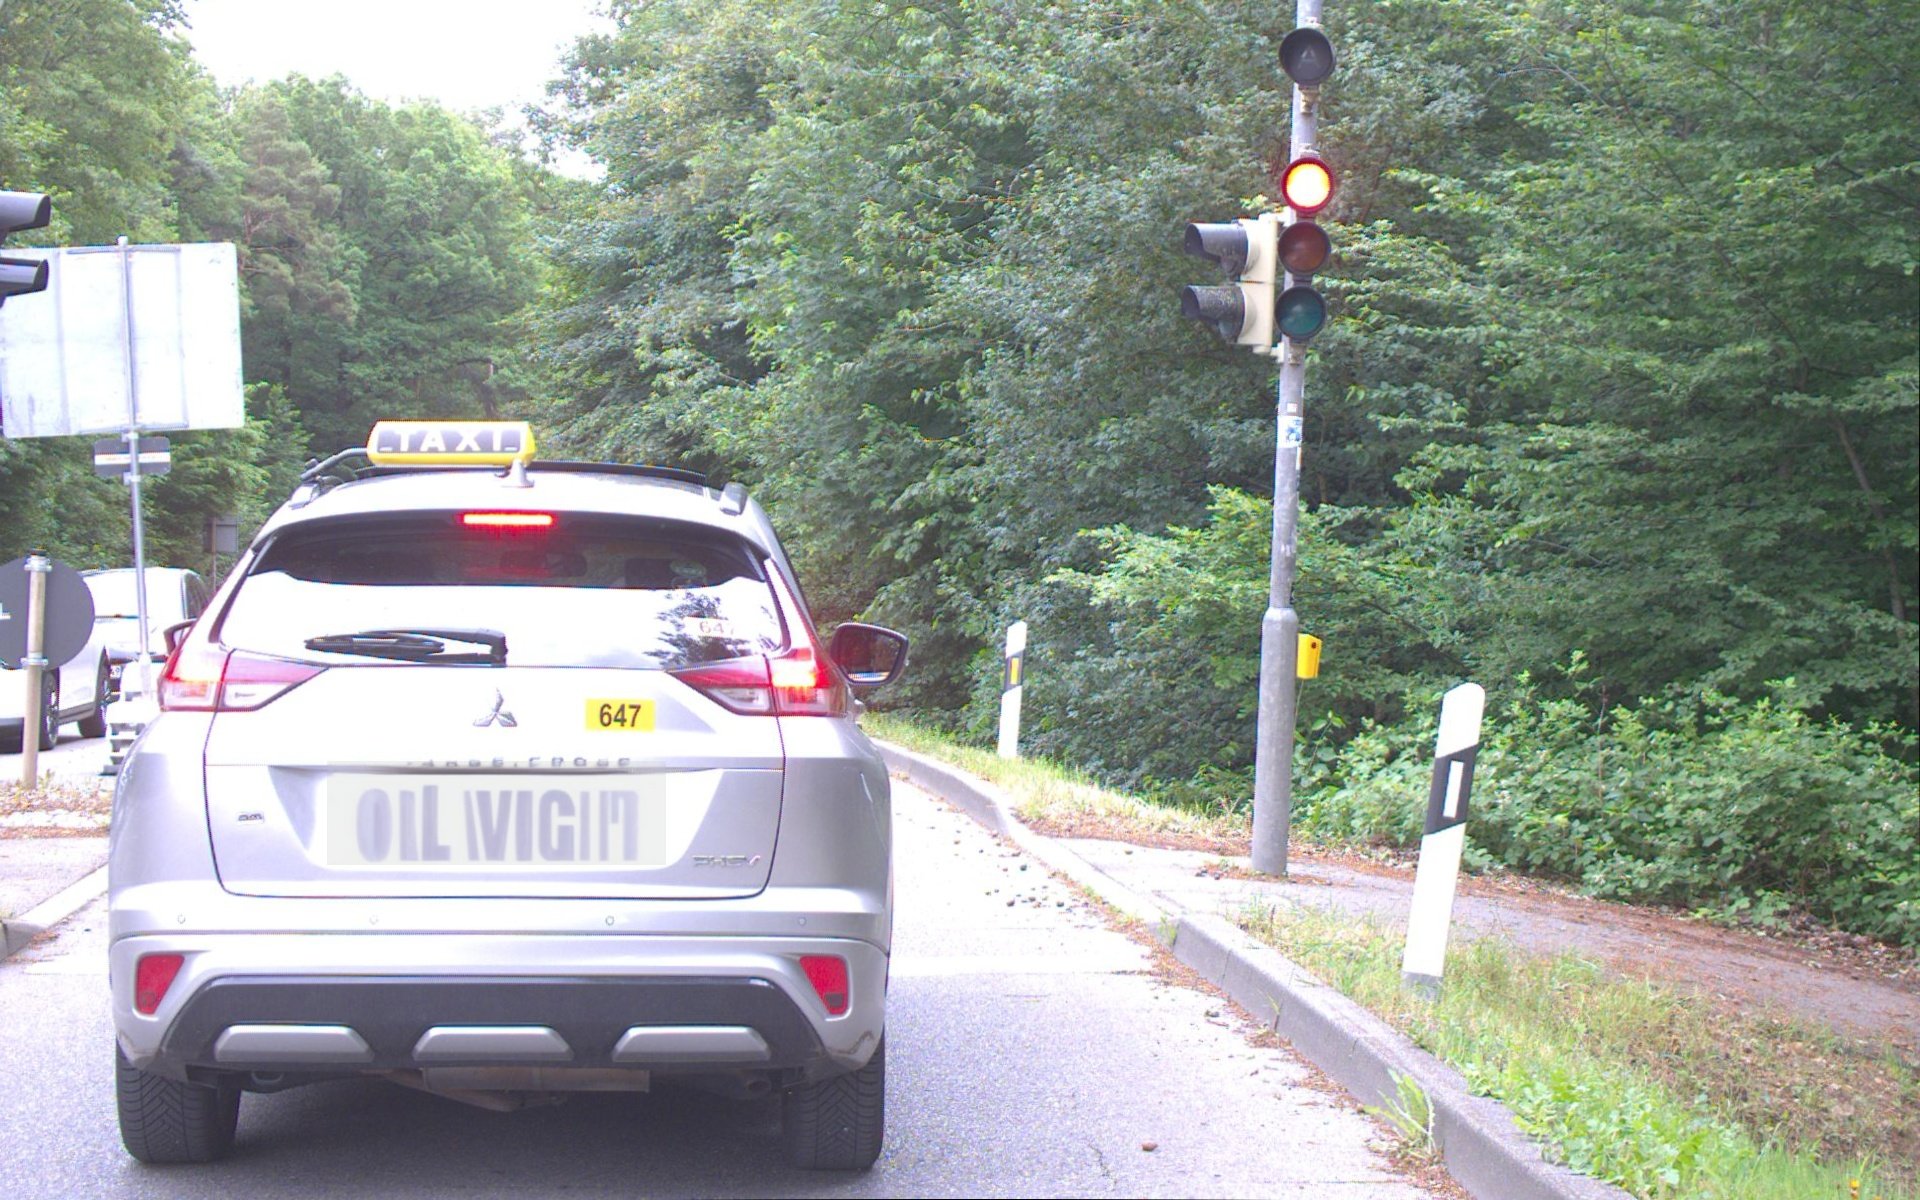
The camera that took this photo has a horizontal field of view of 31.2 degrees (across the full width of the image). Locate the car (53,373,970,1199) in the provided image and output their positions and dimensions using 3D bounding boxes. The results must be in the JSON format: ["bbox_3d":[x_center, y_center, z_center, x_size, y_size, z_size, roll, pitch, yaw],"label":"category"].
[{"bbox_3d":[-1.122,0.388,9.191,1.846,1.774,4.001,2,2,-5],"label":"car"}]

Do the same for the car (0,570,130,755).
[{"bbox_3d":[-7.845,0.469,27.571,1.612,1.317,3.722,-2,2,-3],"label":"car"}]

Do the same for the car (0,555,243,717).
[{"bbox_3d":[-8.513,0.329,34.928,1.811,1.503,3.722,-2,1,-3],"label":"car"}]
